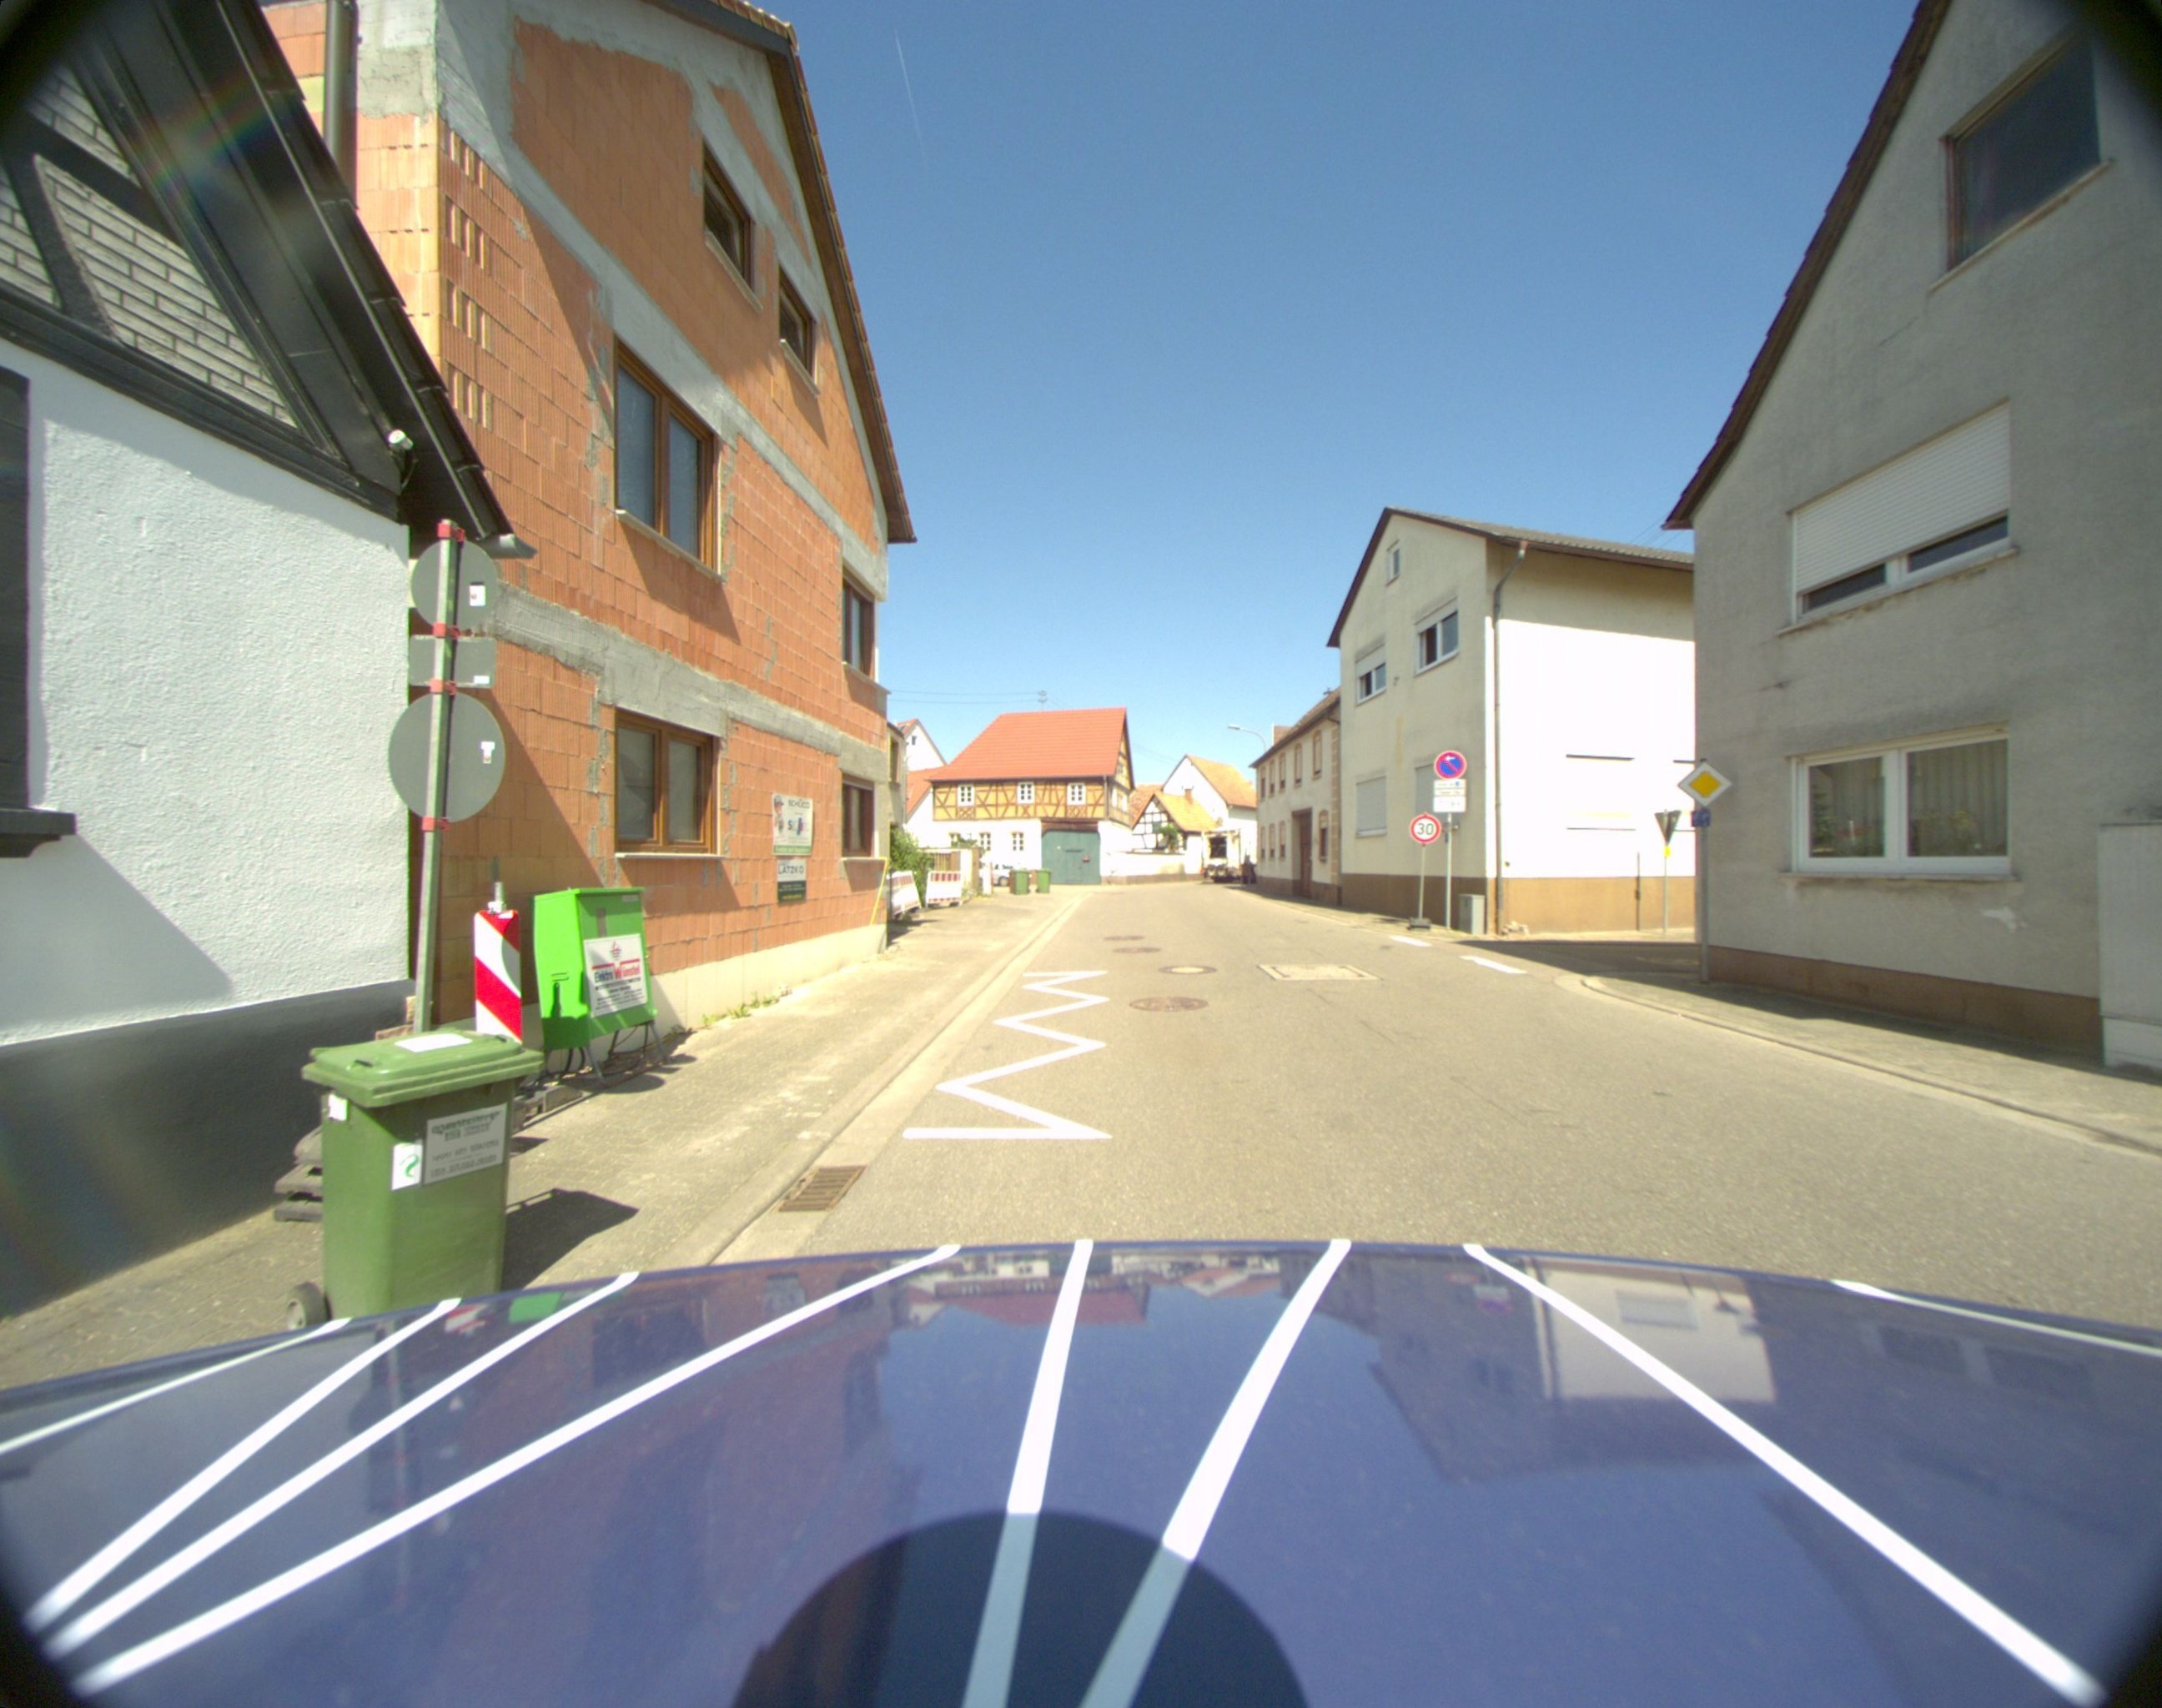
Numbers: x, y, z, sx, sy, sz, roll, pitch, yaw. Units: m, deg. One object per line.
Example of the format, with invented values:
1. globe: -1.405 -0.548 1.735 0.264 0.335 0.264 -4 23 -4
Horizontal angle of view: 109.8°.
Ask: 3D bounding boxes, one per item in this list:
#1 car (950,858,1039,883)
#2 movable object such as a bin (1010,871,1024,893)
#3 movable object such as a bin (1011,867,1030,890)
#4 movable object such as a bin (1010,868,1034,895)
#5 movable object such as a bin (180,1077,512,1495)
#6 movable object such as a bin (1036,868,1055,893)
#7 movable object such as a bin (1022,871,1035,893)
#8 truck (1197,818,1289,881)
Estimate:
1. car: -5.078 0.951 44.809 4.758 1.443 2.002 0 0 14
2. movable object such as a bin: -2.751 1.202 32.826 0.465 0.965 0.496 0 0 11
3. movable object such as a bin: -2.855 1.158 35.937 0.721 1.075 0.756 0 0 8
4. movable object such as a bin: -2.445 1.130 31.546 0.763 1.066 0.671 0 0 -29
5. movable object such as a bin: -2.251 1.250 2.365 0.538 0.908 0.552 0 1 20
6. movable object such as a bin: -1.571 1.156 33.632 0.687 1.085 0.638 0 0 11
7. movable object such as a bin: -2.254 1.203 32.844 0.445 0.944 0.463 0 1 11
8. truck: 10.941 -0.270 50.259 2.697 3.728 10.890 0 0 30
